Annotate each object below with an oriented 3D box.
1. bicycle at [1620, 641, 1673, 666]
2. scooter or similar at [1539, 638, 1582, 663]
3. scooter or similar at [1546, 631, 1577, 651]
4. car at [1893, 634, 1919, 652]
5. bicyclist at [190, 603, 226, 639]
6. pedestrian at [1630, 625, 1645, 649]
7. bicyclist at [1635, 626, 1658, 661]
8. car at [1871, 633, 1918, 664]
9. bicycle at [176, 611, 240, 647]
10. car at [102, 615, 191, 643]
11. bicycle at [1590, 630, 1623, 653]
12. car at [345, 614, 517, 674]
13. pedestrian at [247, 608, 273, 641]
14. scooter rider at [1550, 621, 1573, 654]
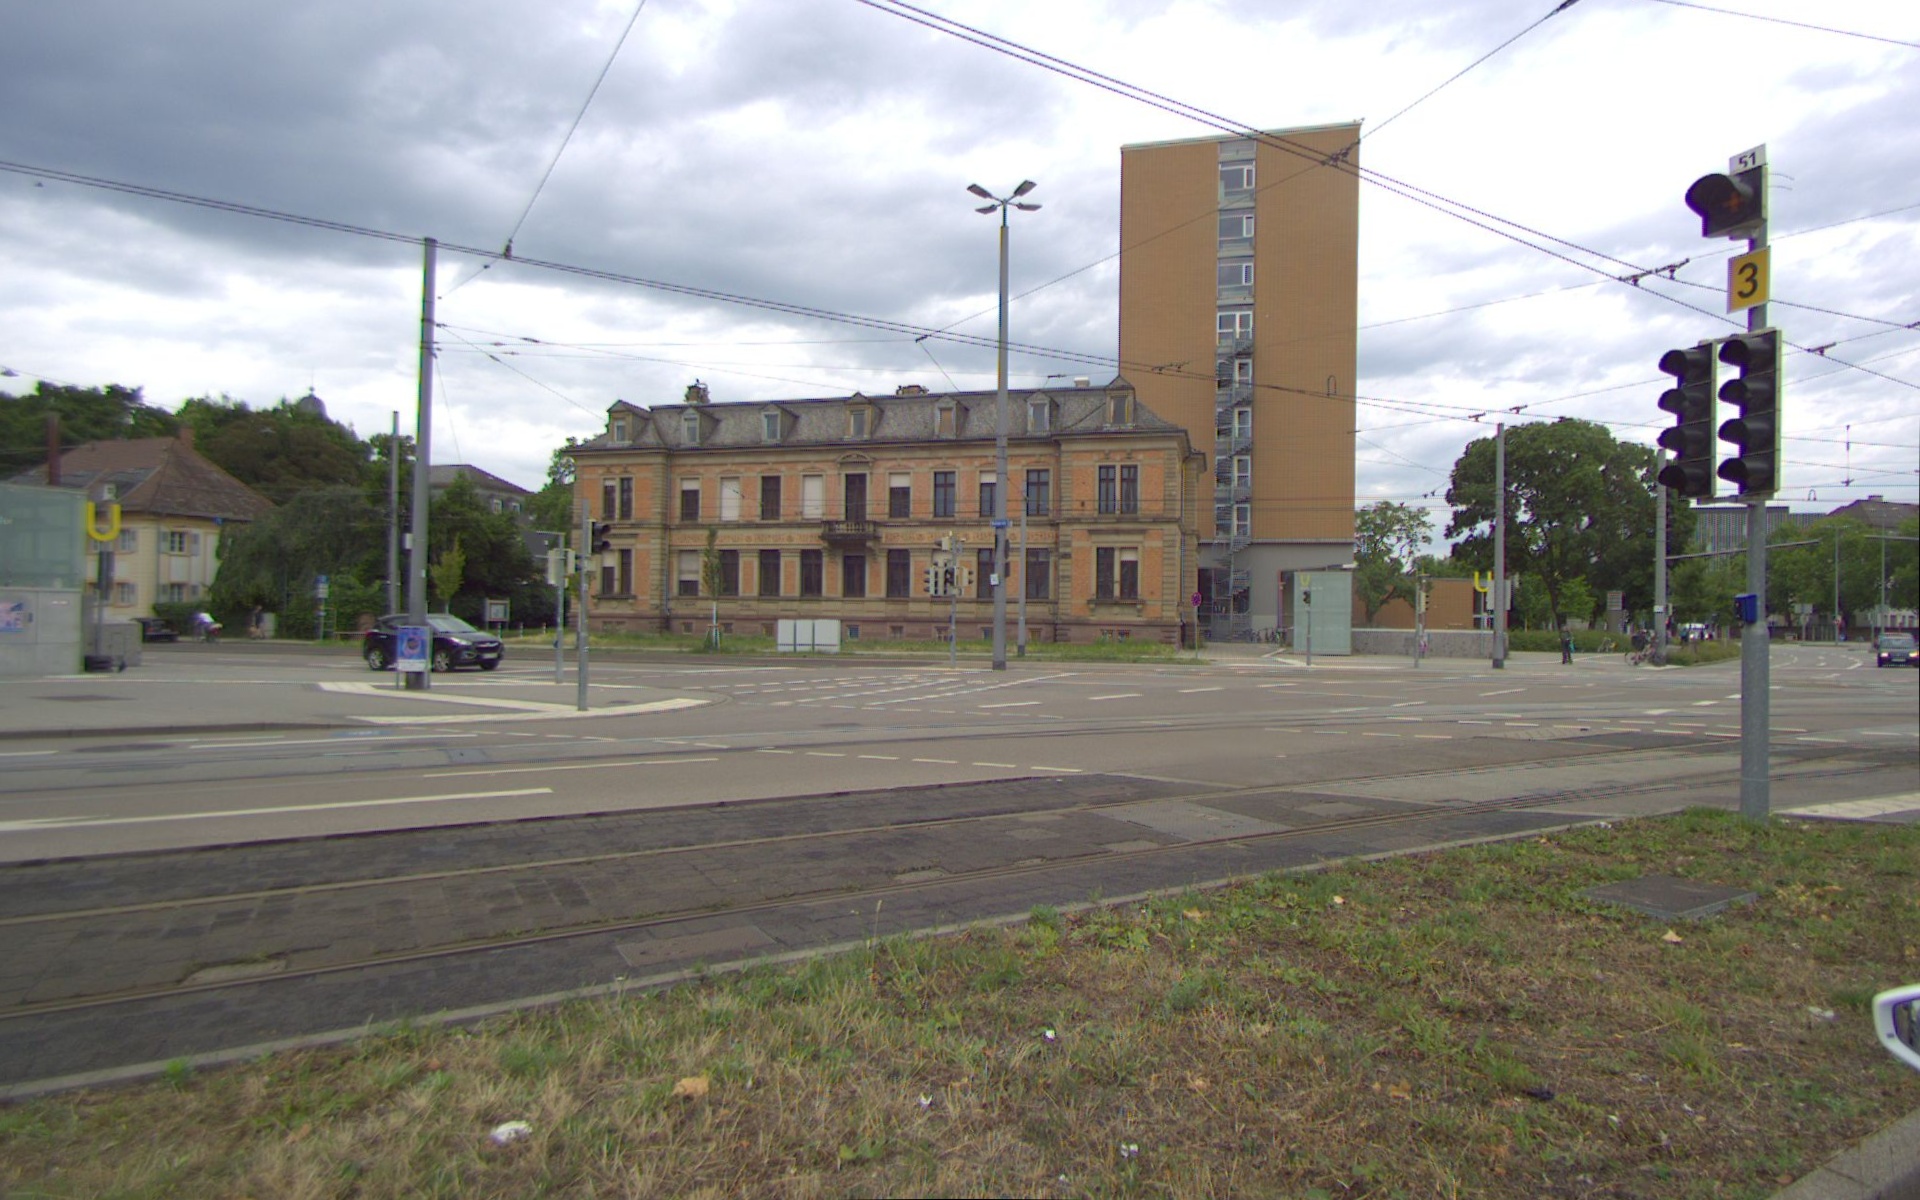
[{"bbox_3d":[34.578,2.674,50.590,2.089,1.042,0.791,4,2,42],"label":"bicycle"},{"bbox_3d":[29.544,2.478,49.397,1.872,1.180,0.573,1,-1,-9],"label":"scooter or similar"},{"bbox_3d":[40.618,2.750,67.848,1.744,1.319,0.629,0,-1,29],"label":"scooter or similar"},{"bbox_3d":[97.395,4.375,102.957,1.966,1.773,3.988,0,-1,34],"label":"car"},{"bbox_3d":[-39.035,1.095,52.169,0.996,1.806,1.093,1,-1,17],"label":"bicyclist"},{"bbox_3d":[48.639,2.640,72.099,0.681,1.757,0.739,1,-1,-44],"label":"pedestrian"},{"bbox_3d":[34.573,2.199,50.601,0.803,1.679,0.790,3,2,41],"label":"bicyclist"},{"bbox_3d":[47.451,2.439,51.034,1.600,1.535,3.646,-1,-2,41],"label":"car"},{"bbox_3d":[-39.059,1.490,52.190,3.024,1.773,1.086,0,-1,18],"label":"bicycle"},{"bbox_3d":[-44.860,1.575,55.398,3.920,1.450,2.001,0,-1,18],"label":"car"},{"bbox_3d":[43.703,2.803,67.870,2.223,1.468,0.844,1,-1,-25],"label":"bicycle"},{"bbox_3d":[-15.548,1.268,29.604,4.159,1.632,2.001,1,-1,14],"label":"car"},{"bbox_3d":[-39.304,1.370,56.378,0.832,1.857,0.810,1,-1,13],"label":"pedestrian"},{"bbox_3d":[29.602,1.842,49.414,0.807,1.649,0.568,1,-1,-9],"label":"scooter rider"}]
